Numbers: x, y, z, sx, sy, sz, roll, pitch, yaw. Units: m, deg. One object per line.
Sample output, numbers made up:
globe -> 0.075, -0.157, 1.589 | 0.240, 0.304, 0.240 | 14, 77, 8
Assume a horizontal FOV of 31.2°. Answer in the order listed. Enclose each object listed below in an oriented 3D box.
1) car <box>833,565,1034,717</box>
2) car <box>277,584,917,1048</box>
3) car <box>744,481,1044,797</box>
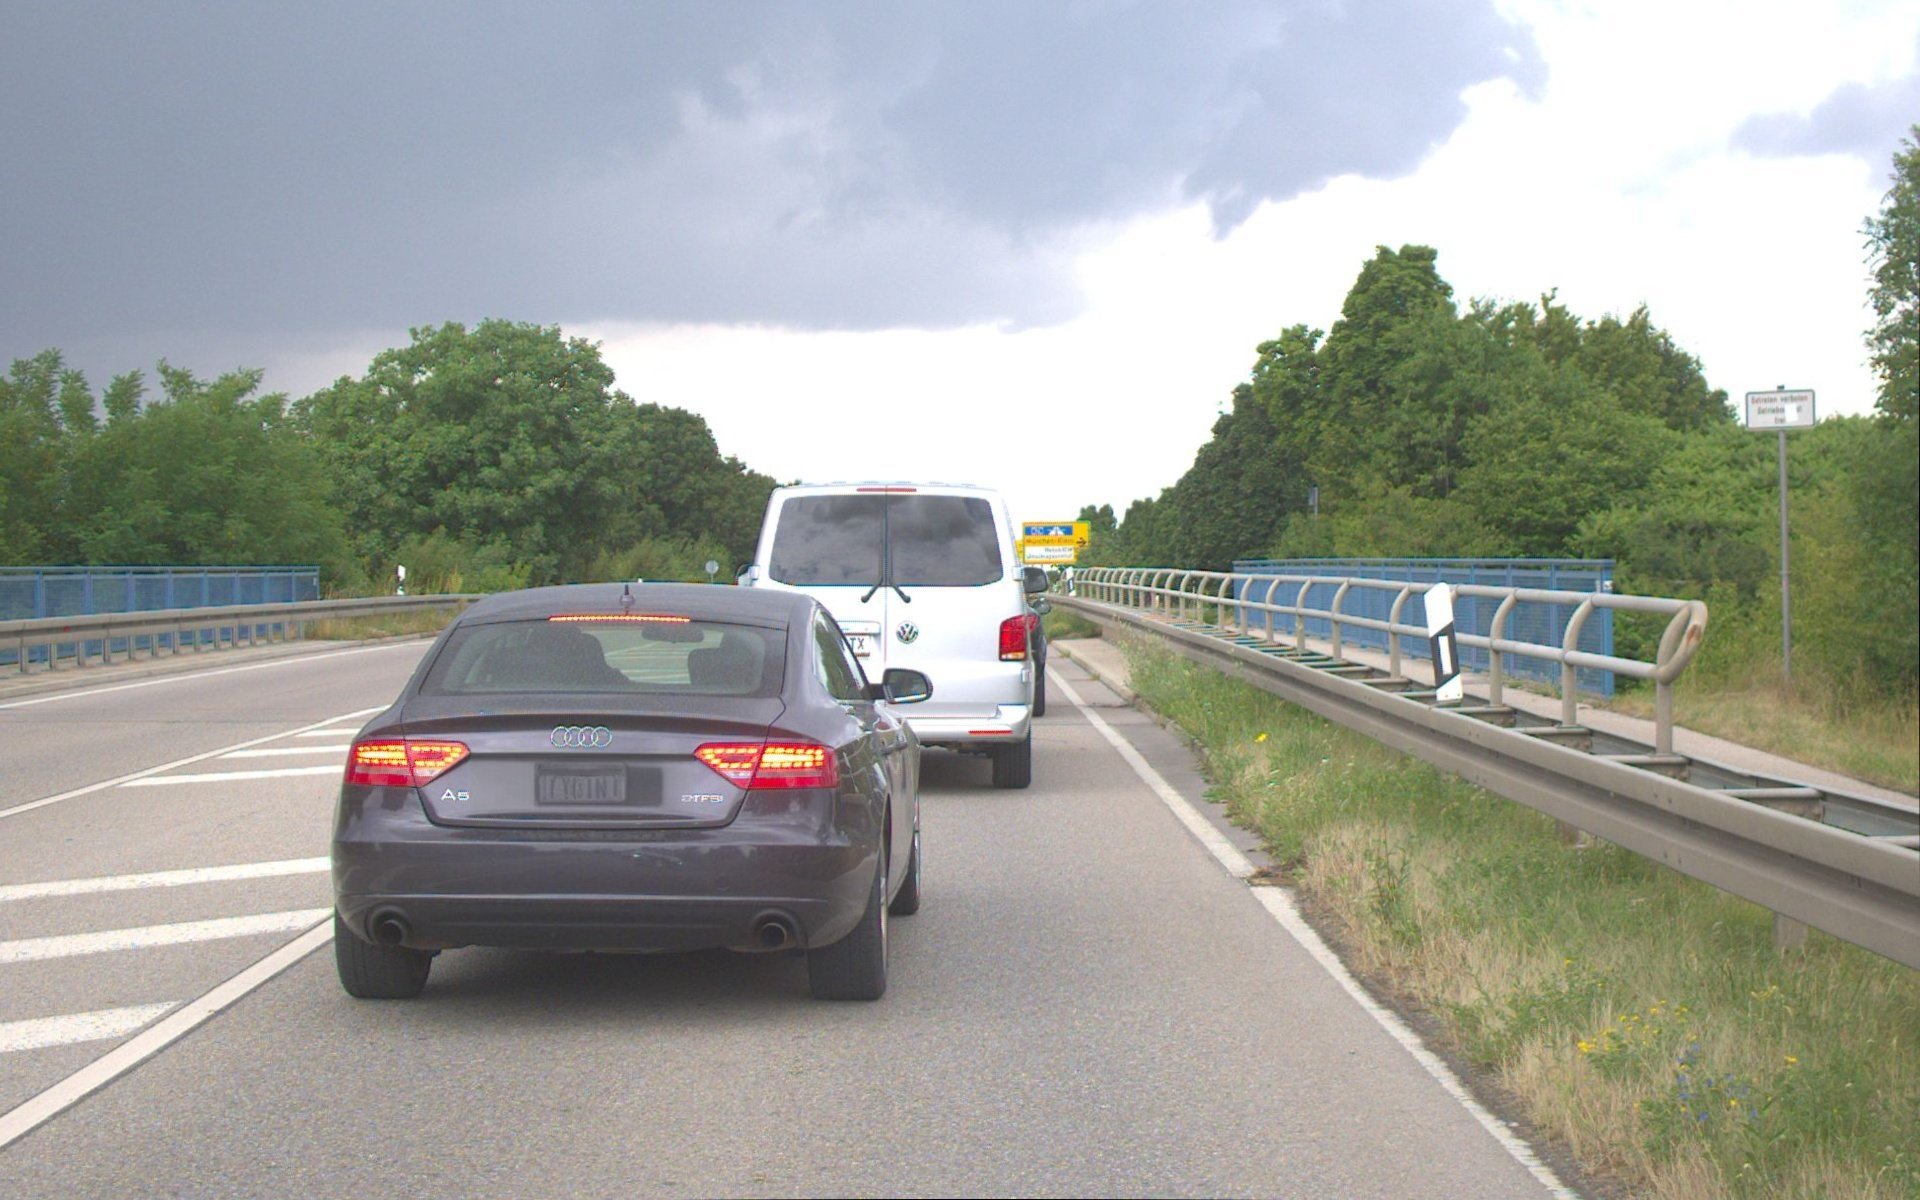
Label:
car -> -0.211, 0.356, 33.187 | 1.821, 1.376, 4.072 | 0, 1, 1
car -> -1.128, 0.647, 12.474 | 1.821, 1.376, 4.072 | 0, 1, 1
car -> -0.416, 0.219, 23.141 | 1.828, 1.929, 4.000 | 0, 1, 0
